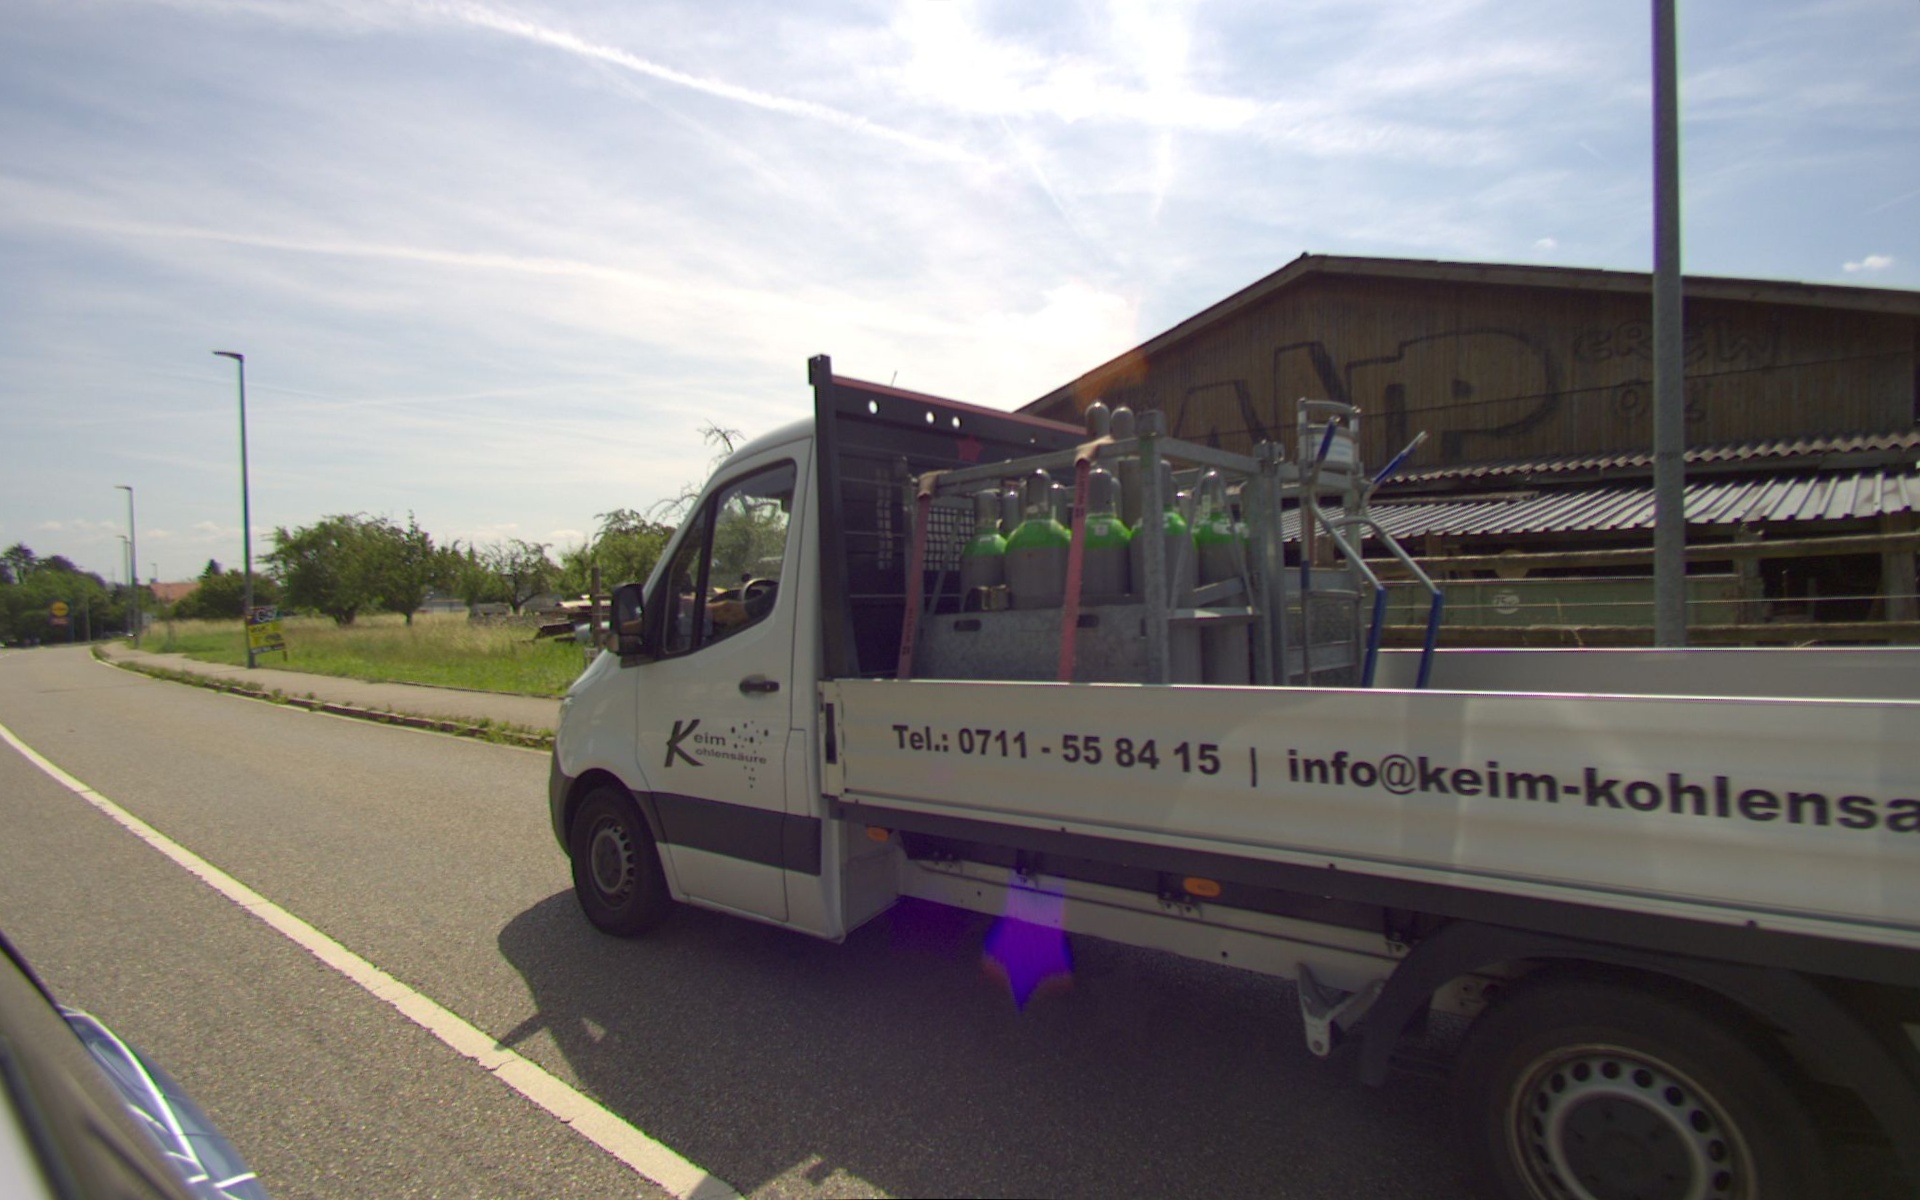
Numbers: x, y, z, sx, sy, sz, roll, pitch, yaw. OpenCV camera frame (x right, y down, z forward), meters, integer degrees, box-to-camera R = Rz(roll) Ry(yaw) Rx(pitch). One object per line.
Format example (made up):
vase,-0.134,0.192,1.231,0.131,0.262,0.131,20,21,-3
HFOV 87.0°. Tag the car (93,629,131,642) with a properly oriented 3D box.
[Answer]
car,-145.076,6.067,173.211,4.621,2.029,2.006,-2,0,-30

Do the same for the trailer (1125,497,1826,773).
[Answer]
trailer,4.165,0.261,8.763,5.027,1.716,2.132,-2,-1,41

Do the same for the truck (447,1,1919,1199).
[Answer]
truck,0.546,0.255,3.861,6.488,2.310,2.199,-1,0,41
